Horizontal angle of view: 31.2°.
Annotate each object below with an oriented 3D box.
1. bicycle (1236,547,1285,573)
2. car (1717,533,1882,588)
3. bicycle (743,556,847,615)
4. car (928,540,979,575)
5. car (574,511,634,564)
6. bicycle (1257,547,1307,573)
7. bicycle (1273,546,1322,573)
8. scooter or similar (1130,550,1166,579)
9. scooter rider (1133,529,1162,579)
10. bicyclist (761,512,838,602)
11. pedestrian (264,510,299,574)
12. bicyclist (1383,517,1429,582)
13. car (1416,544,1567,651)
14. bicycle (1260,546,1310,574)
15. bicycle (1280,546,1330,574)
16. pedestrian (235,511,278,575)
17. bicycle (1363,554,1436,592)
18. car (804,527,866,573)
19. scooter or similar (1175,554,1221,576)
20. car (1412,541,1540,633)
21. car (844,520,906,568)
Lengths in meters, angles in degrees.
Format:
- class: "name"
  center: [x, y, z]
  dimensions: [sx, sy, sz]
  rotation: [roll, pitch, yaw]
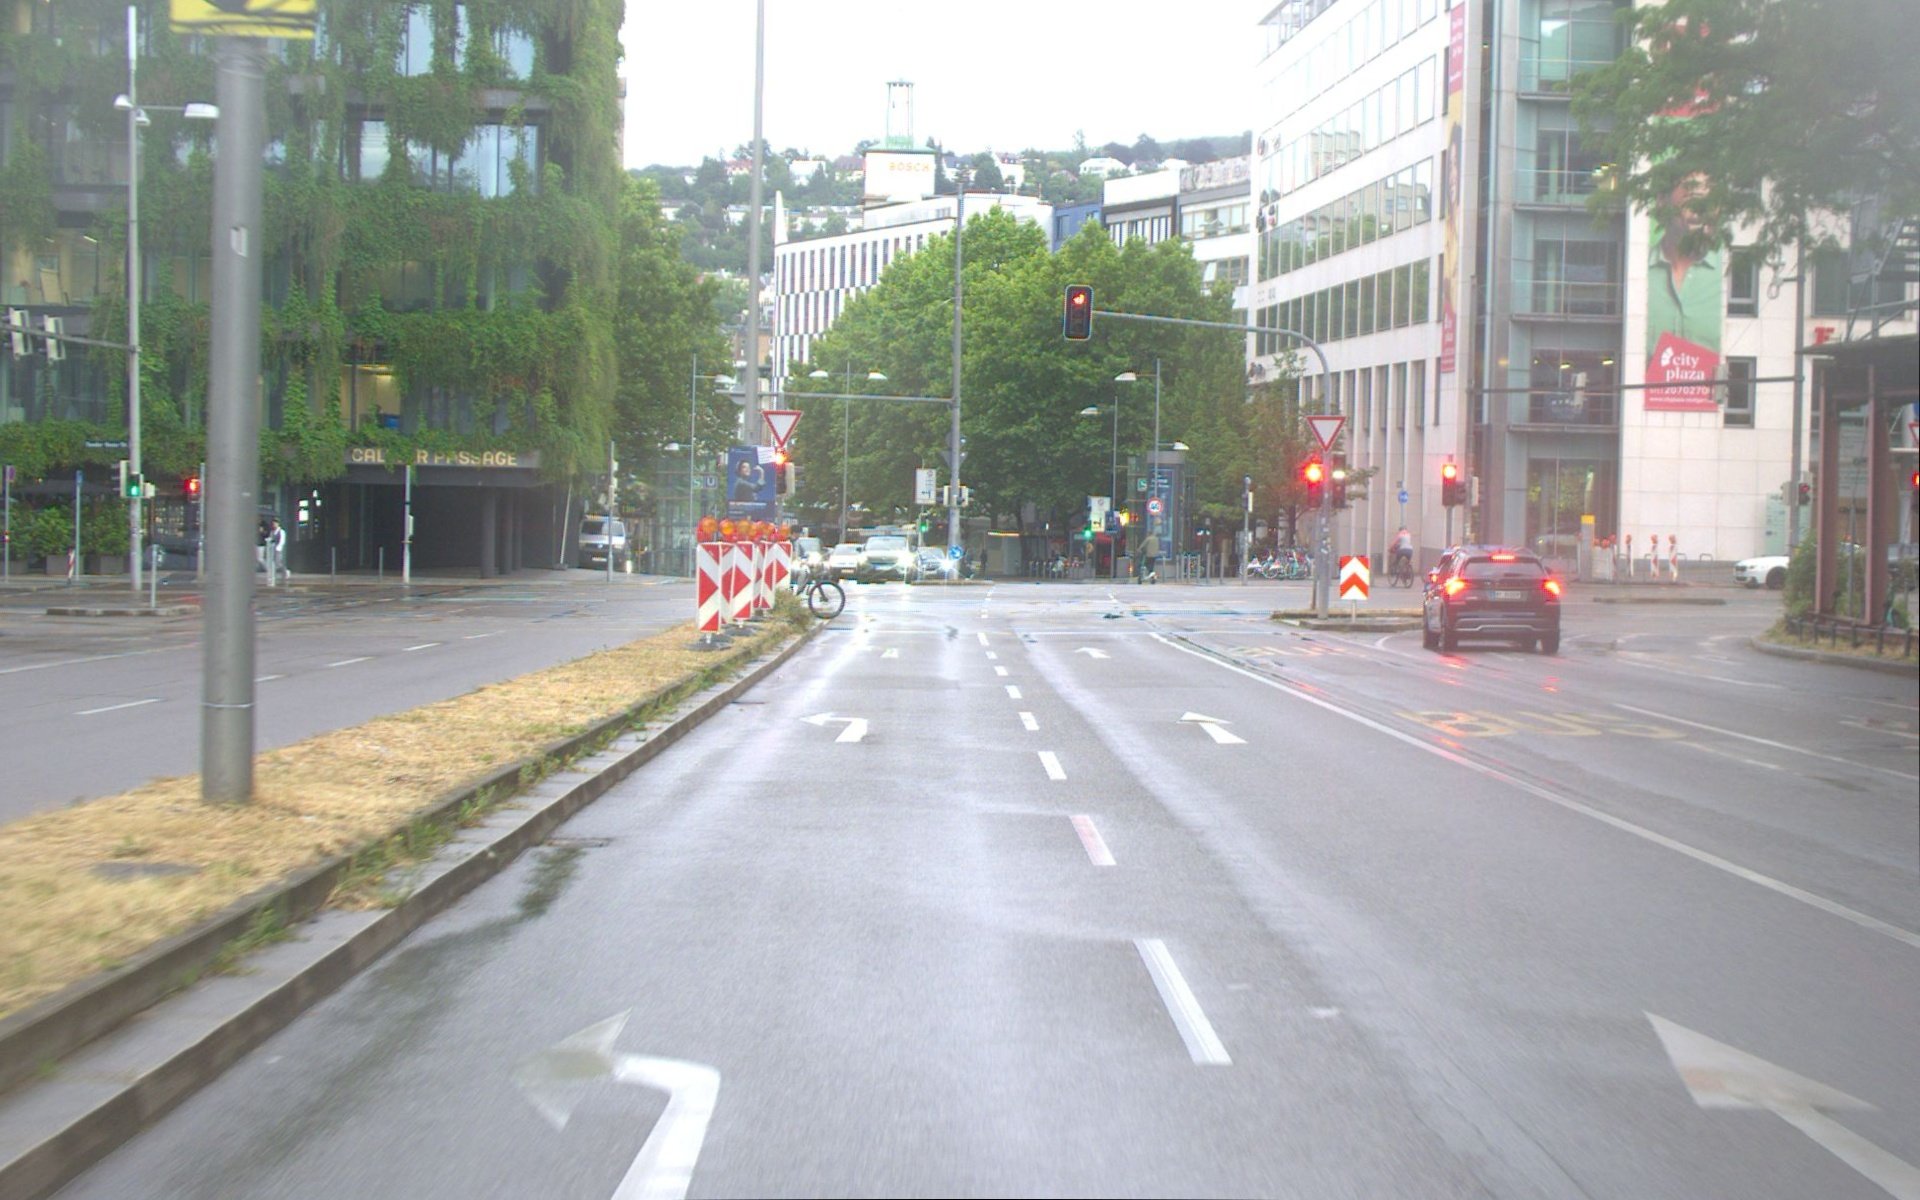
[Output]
- class: "bicycle"
  center: [11.205, -1.499, 128.244]
  dimensions: [1.795, 0.931, 0.475]
  rotation: [1, 1, 3]
- class: "car"
  center: [25.561, -1.207, 104.666]
  dimensions: [4.449, 1.592, 2.001]
  rotation: [0, 1, -15]
- class: "bicycle"
  center: [-3.135, -0.290, 65.667]
  dimensions: [0.847, 1.099, 2.148]
  rotation: [1, 1, 35]
- class: "car"
  center: [-0.304, -1.870, 151.417]
  dimensions: [1.993, 1.438, 4.556]
  rotation: [0, 2, -3]
- class: "car"
  center: [-12.823, -2.259, 123.978]
  dimensions: [1.993, 1.888, 4.466]
  rotation: [0, 1, -4]
- class: "bicycle"
  center: [11.842, -1.466, 126.391]
  dimensions: [1.795, 0.931, 0.475]
  rotation: [1, 1, 3]
- class: "bicycle"
  center: [11.905, -1.420, 121.317]
  dimensions: [1.799, 0.931, 0.474]
  rotation: [2, 1, 41]
- class: "scooter or similar"
  center: [6.609, -1.249, 120.990]
  dimensions: [0.556, 1.003, 1.824]
  rotation: [0, 1, -20]
- class: "scooter rider"
  center: [6.596, -1.626, 121.016]
  dimensions: [0.762, 1.768, 0.796]
  rotation: [0, 1, -20]
- class: "bicyclist"
  center: [-3.064, -0.824, 65.704]
  dimensions: [0.847, 1.698, 1.296]
  rotation: [1, 1, 37]
- class: "pedestrian"
  center: [-18.838, -1.617, 95.408]
  dimensions: [0.741, 1.752, 0.976]
  rotation: [0, 1, -24]
- class: "bicyclist"
  center: [13.565, -1.536, 104.484]
  dimensions: [0.791, 1.968, 1.114]
  rotation: [0, 1, -41]
- class: "car"
  center: [8.083, -0.074, 52.589]
  dimensions: [1.778, 1.534, 4.146]
  rotation: [1, 1, 2]
- class: "bicycle"
  center: [11.302, -1.399, 119.713]
  dimensions: [1.799, 0.931, 0.474]
  rotation: [2, 1, 41]
- class: "bicycle"
  center: [12.072, -1.406, 120.350]
  dimensions: [1.799, 0.931, 0.474]
  rotation: [2, 1, 41]
- class: "pedestrian"
  center: [-19.484, -1.578, 95.172]
  dimensions: [0.935, 1.752, 1.172]
  rotation: [0, 1, -24]
- class: "bicycle"
  center: [13.378, -0.817, 104.724]
  dimensions: [0.791, 1.113, 2.255]
  rotation: [0, 1, -40]
- class: "car"
  center: [-5.119, -2.049, 140.228]
  dimensions: [2.174, 1.817, 4.645]
  rotation: [0, 1, -6]
- class: "scooter or similar"
  center: [9.363, -1.372, 135.361]
  dimensions: [1.745, 0.875, 0.489]
  rotation: [0, 1, -19]
- class: "car"
  center: [9.002, -0.258, 59.730]
  dimensions: [1.704, 1.524, 4.424]
  rotation: [1, 1, 15]
- class: "car"
  center: [-2.851, -1.885, 114.054]
  dimensions: [1.993, 1.545, 4.556]
  rotation: [0, 1, -2]
